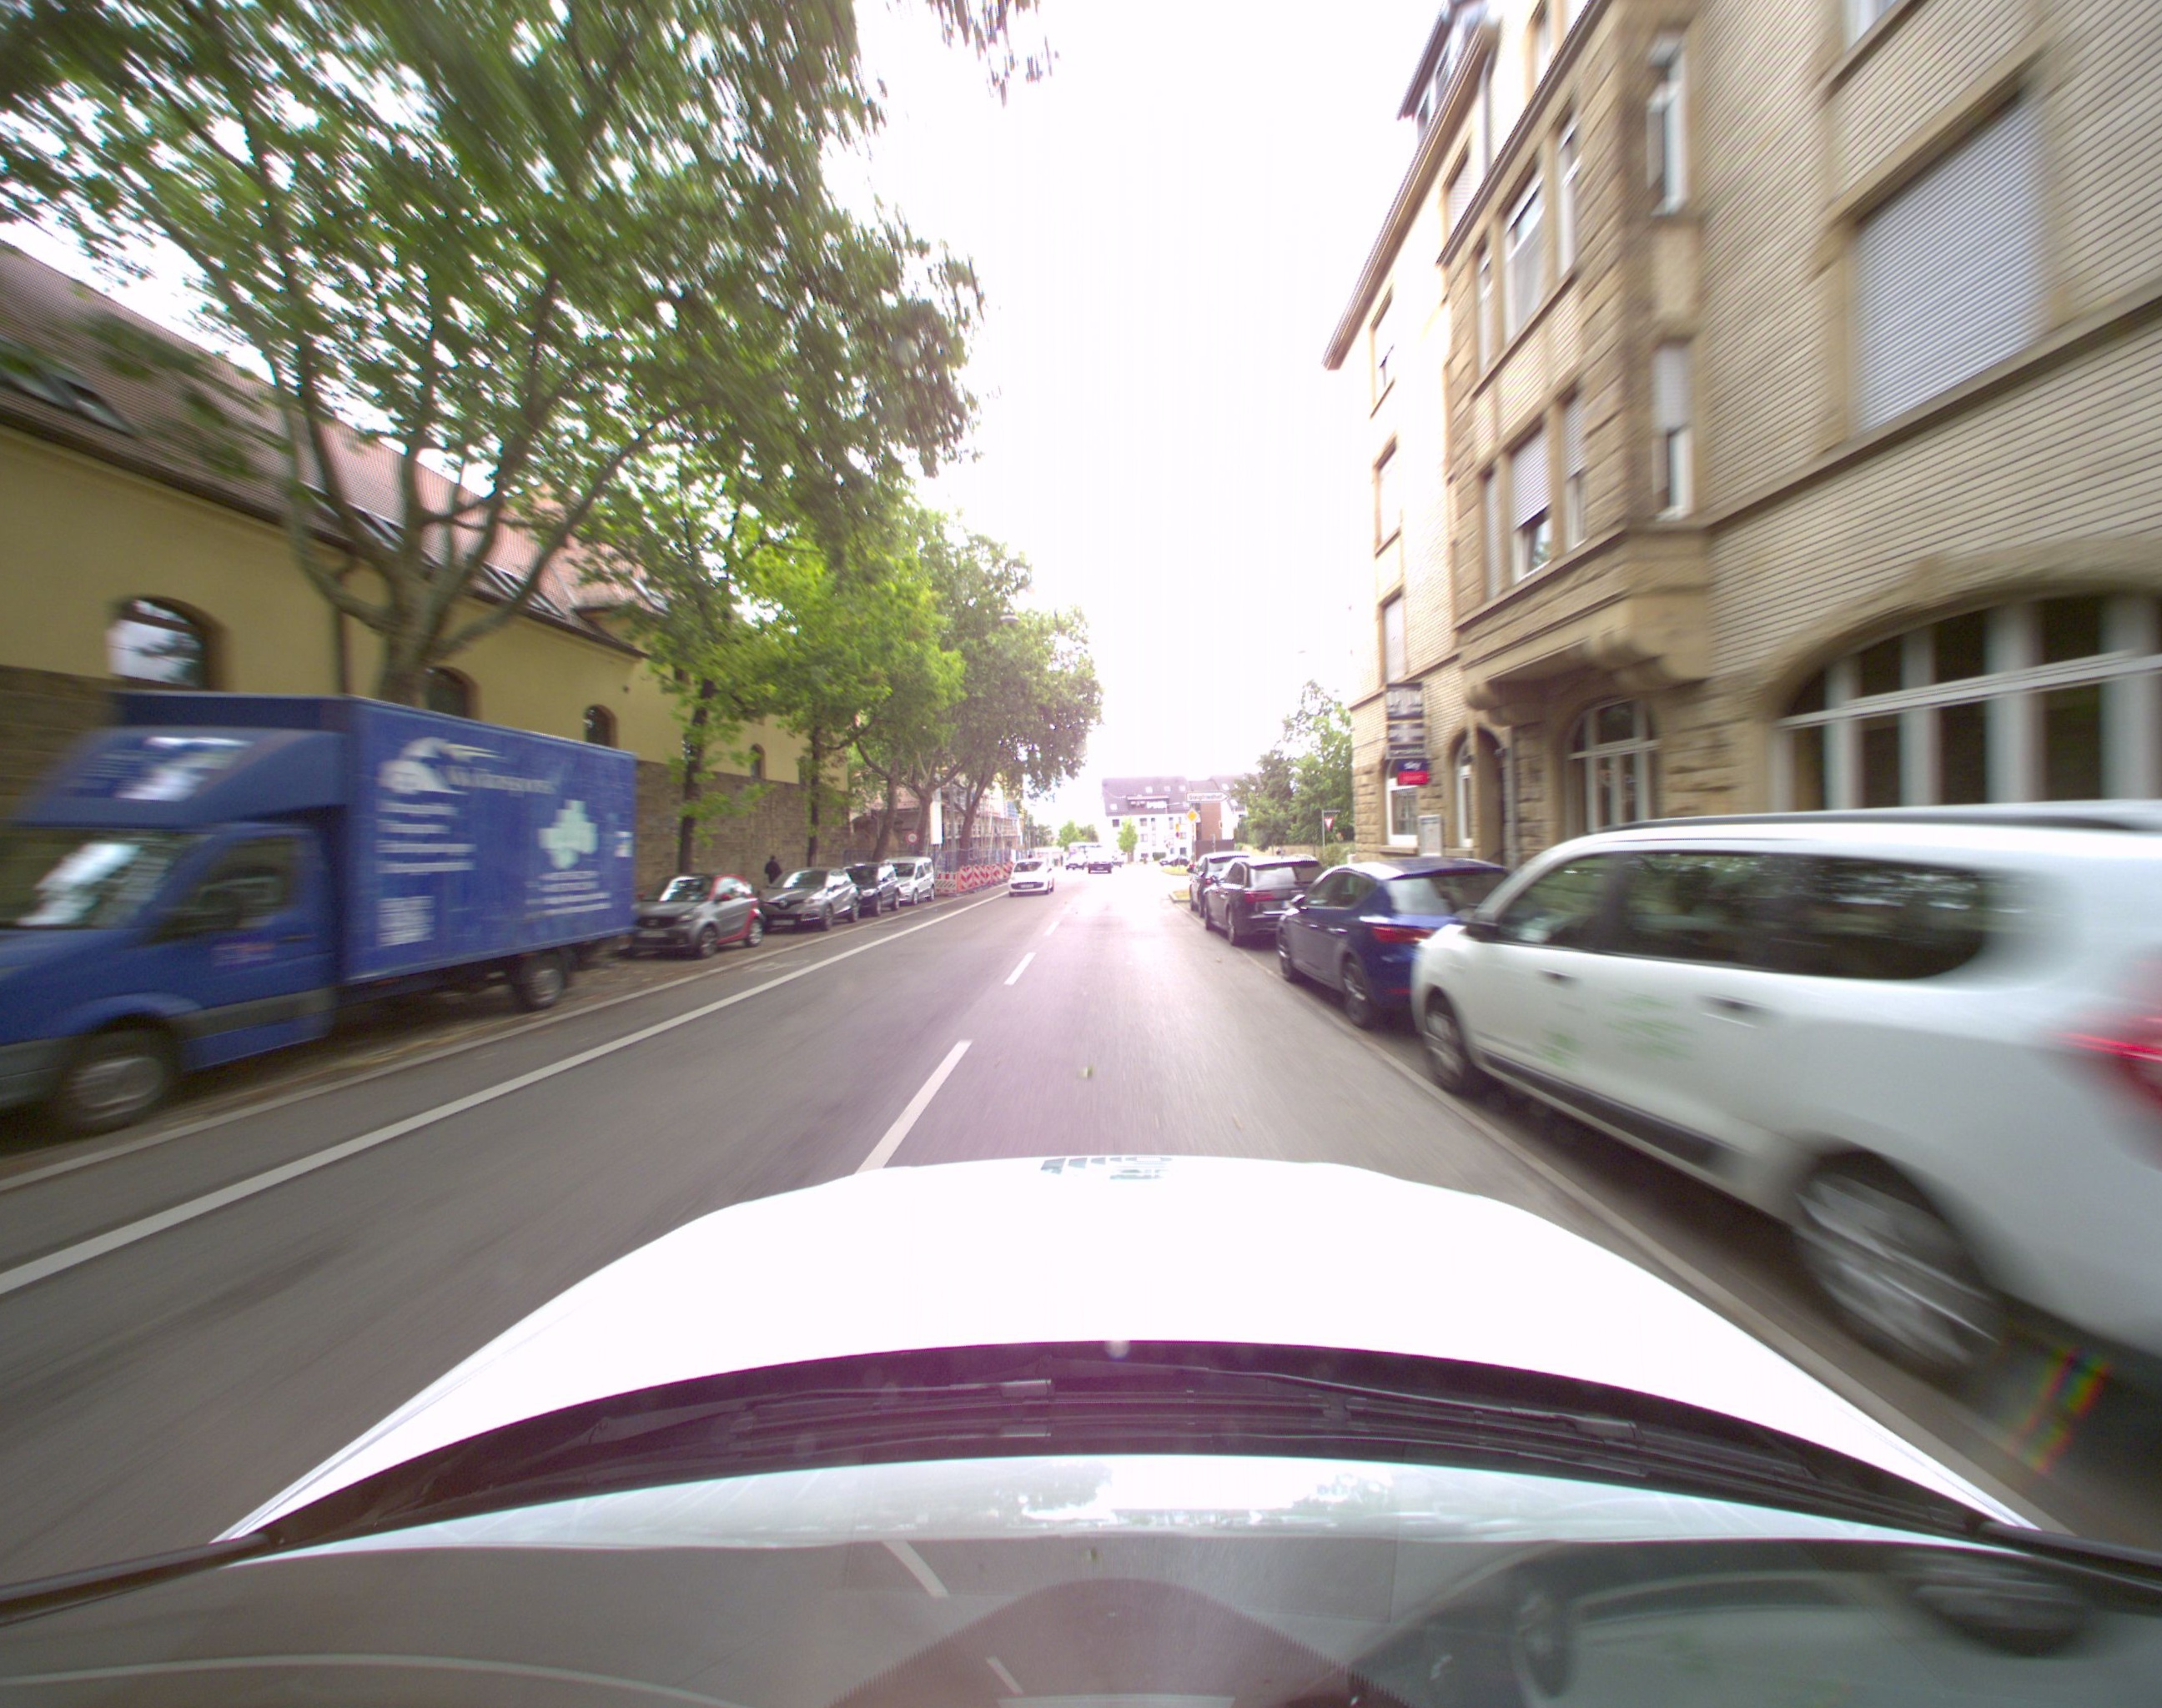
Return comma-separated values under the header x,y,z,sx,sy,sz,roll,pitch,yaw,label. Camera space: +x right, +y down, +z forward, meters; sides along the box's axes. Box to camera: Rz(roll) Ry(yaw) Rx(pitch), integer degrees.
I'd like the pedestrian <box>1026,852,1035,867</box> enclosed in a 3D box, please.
x,y,z,sx,sy,sz,roll,pitch,yaw,label
-5.745,0.587,92.283,0.918,1.720,0.799,0,-1,5,pedestrian

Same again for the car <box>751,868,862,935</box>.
x,y,z,sx,sy,sz,roll,pitch,yaw,label
-7.078,1.164,21.422,1.589,1.573,4.085,0,-1,-1,car

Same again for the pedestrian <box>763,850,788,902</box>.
x,y,z,sx,sy,sz,roll,pitch,yaw,label
-10.863,0.776,28.988,0.590,1.799,0.743,0,-1,2,pedestrian

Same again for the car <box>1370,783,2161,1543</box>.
x,y,z,sx,sy,sz,roll,pitch,yaw,label
3.118,0.628,3.925,1.674,1.663,4.541,-4,0,-1,car

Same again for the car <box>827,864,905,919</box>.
x,y,z,sx,sy,sz,roll,pitch,yaw,label
-6.887,1.149,26.469,1.504,1.631,4.114,0,-1,-1,car

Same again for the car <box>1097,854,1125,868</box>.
x,y,z,sx,sy,sz,roll,pitch,yaw,label
3.332,0.754,89.910,1.683,1.426,3.720,-1,0,27,car

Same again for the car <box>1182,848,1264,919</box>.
x,y,z,sx,sy,sz,roll,pitch,yaw,label
3.573,0.685,21.023,1.559,1.610,3.656,-3,0,2,car

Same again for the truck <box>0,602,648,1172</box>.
x,y,z,sx,sy,sz,roll,pitch,yaw,label
-7.524,0.199,8.338,2.207,3.416,7.248,0,0,1,truck

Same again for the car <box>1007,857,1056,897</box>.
x,y,z,sx,sy,sz,roll,pitch,yaw,label
-2.006,0.917,33.880,1.577,1.464,3.653,-4,0,2,car

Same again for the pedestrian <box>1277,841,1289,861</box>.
x,y,z,sx,sy,sz,roll,pitch,yaw,label
15.781,-0.233,63.631,0.583,1.585,0.570,-5,1,-27,pedestrian

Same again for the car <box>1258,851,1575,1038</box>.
x,y,z,sx,sy,sz,roll,pitch,yaw,label
3.166,0.725,8.696,1.600,1.397,4.276,-4,0,1,car

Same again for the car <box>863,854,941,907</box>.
x,y,z,sx,sy,sz,roll,pitch,yaw,label
-6.951,0.979,32.065,1.827,1.876,4.419,-3,0,2,car

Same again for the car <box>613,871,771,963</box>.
x,y,z,sx,sy,sz,roll,pitch,yaw,label
-7.437,1.143,15.855,1.474,1.573,2.995,0,-1,4,car

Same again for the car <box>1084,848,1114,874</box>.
x,y,z,sx,sy,sz,roll,pitch,yaw,label
1.477,0.560,64.740,2.196,1.931,5.244,-1,0,3,car

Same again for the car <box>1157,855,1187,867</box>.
x,y,z,sx,sy,sz,roll,pitch,yaw,label
11.582,0.861,103.102,1.683,1.426,4.276,-2,0,40,car

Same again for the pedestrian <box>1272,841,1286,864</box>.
x,y,z,sx,sy,sz,roll,pitch,yaw,label
14.734,-0.120,60.556,0.714,1.734,0.654,0,-1,-31,pedestrian

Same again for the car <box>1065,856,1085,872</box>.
x,y,z,sx,sy,sz,roll,pitch,yaw,label
-0.560,0.933,78.972,1.693,1.426,4.251,-1,0,2,car

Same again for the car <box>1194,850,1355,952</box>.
x,y,z,sx,sy,sz,roll,pitch,yaw,label
3.324,0.719,14.962,1.733,1.463,4.774,-4,0,0,car
